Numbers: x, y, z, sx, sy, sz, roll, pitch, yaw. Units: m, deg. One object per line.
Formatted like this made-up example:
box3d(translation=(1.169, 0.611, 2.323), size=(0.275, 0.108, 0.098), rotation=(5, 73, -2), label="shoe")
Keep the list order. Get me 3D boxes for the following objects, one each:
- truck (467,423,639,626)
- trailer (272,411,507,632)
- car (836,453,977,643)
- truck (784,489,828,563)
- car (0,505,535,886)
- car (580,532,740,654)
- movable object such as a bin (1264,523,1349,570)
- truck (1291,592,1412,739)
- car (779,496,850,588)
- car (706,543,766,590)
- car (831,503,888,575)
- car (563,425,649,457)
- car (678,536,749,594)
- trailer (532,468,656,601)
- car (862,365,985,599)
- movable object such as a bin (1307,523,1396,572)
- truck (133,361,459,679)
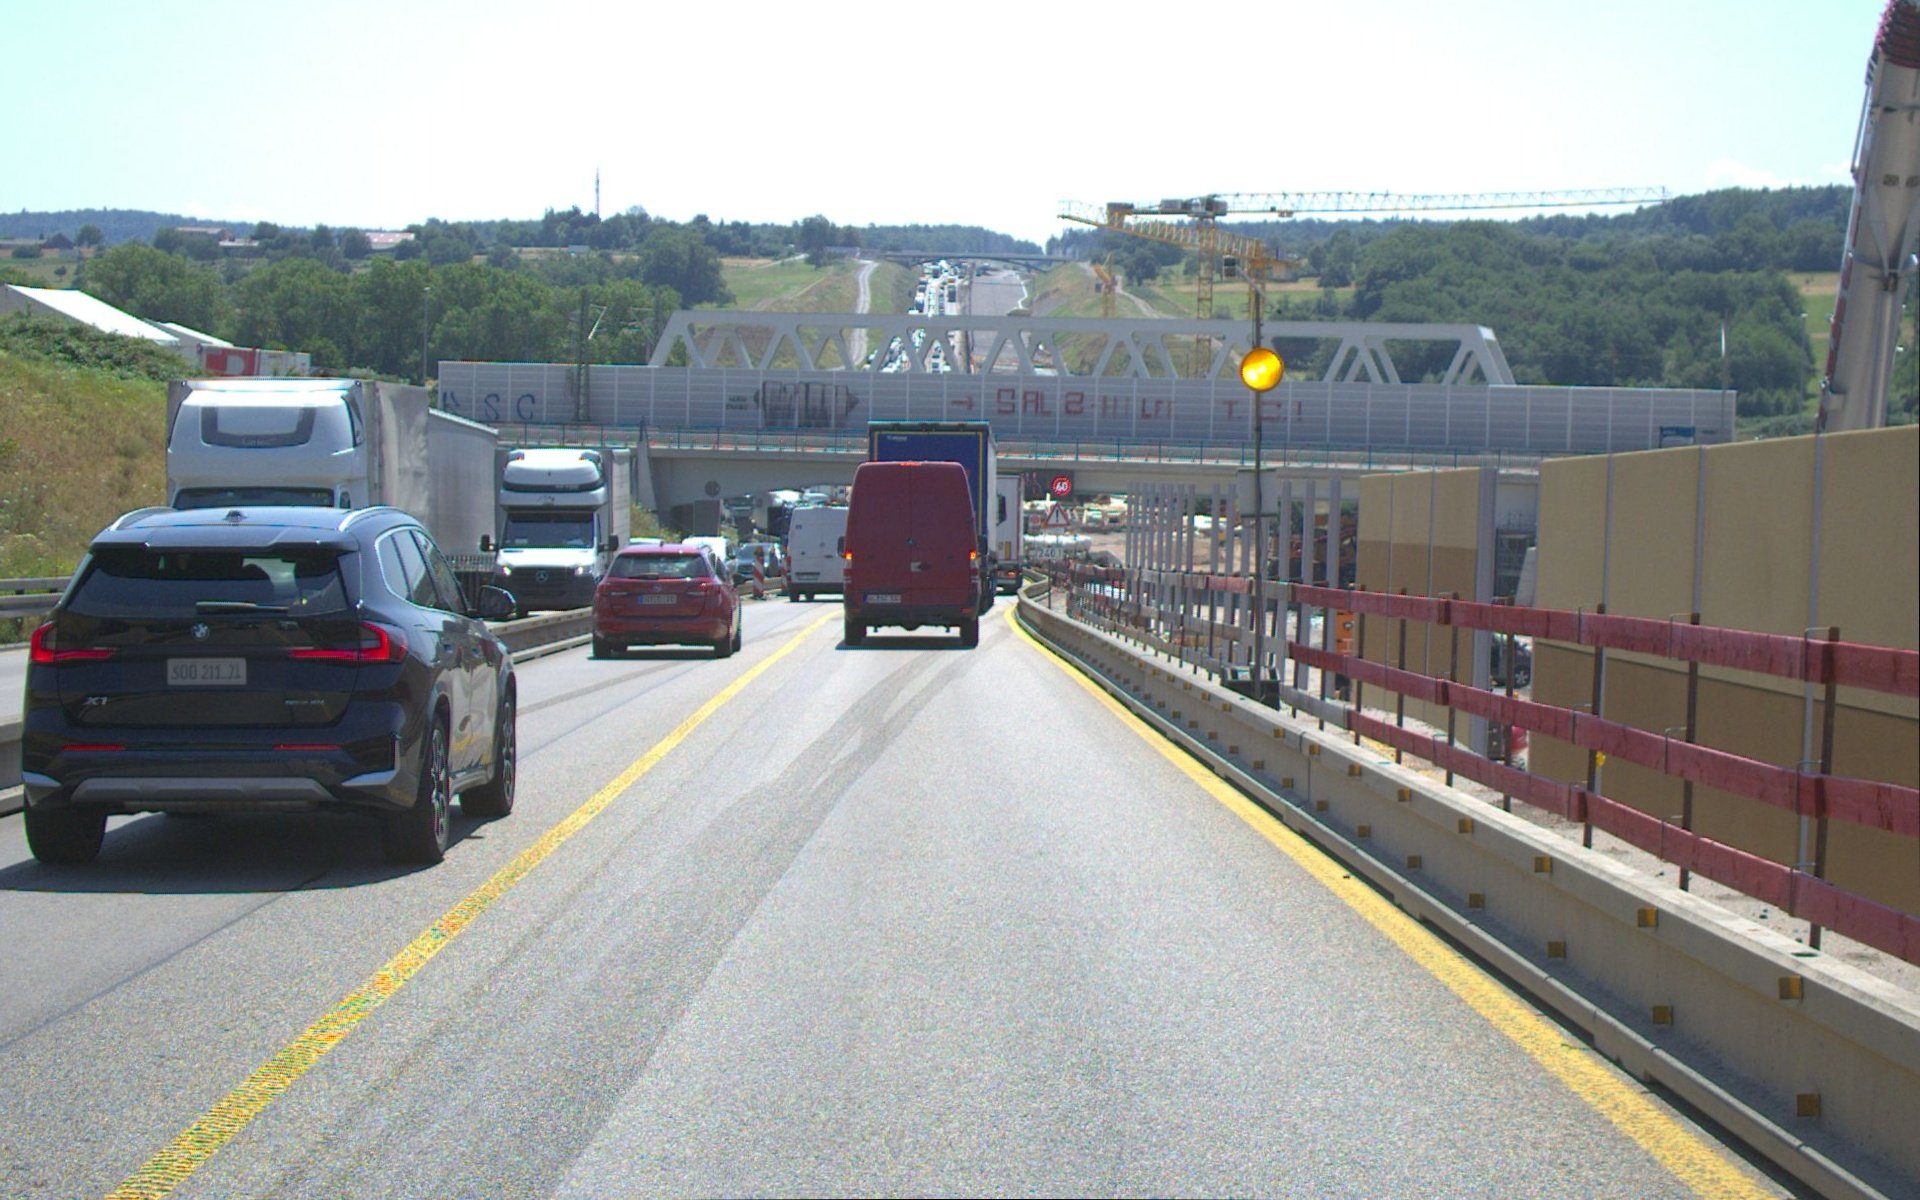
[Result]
box3d(translation=(-7.924, -1.478, 67.686), size=(2.589, 3.745, 7.359), rotation=(1, 1, -1), label="truck")
box3d(translation=(-11.332, -1.578, 69.726), size=(2.698, 4.010, 13.704), rotation=(1, 1, -1), label="trailer")
box3d(translation=(-0.785, -0.778, 50.854), size=(1.988, 2.681, 4.624), rotation=(0, 1, -1), label="car")
box3d(translation=(-8.492, -4.083, 189.879), size=(2.357, 4.001, 4.001), rotation=(1, 1, -2), label="truck")
box3d(translation=(-3.264, 0.356, 16.774), size=(1.879, 1.612, 4.499), rotation=(0, 1, -1), label="car")
box3d(translation=(-3.886, -0.127, 45.123), size=(1.776, 1.512, 4.206), rotation=(0, 1, -1), label="car")
box3d(translation=(21.337, -3.294, 212.065), size=(5.147, 2.798, 2.142), rotation=(1, 1, 5), label="movable object such as a bin")
box3d(translation=(10.955, 1.784, 96.632), size=(2.758, 3.873, 5.882), rotation=(1, 1, 1), label="truck")
box3d(translation=(-3.896, -1.569, 92.429), size=(1.776, 2.433, 4.206), rotation=(0, 1, -1), label="car")
box3d(translation=(-7.936, -1.210, 122.151), size=(1.791, 1.606, 4.733), rotation=(1, 1, 0), label="car")
box3d(translation=(-3.262, -1.996, 112.361), size=(1.776, 2.322, 4.206), rotation=(0, 1, -1), label="car")
box3d(translation=(-20.472, -9.191, 198.841), size=(4.556, 1.777, 1.959), rotation=(1, 1, 13), label="car")
box3d(translation=(-7.953, -1.149, 111.313), size=(2.035, 1.817, 4.960), rotation=(1, 1, -1), label="car")
box3d(translation=(-11.018, -1.992, 104.477), size=(2.590, 3.788, 11.918), rotation=(1, 1, -1), label="trailer")
box3d(translation=(-0.846, -2.632, 78.661), size=(2.621, 5.015, 10.397), rotation=(0, 1, -1), label="car")
box3d(translation=(23.322, -3.144, 204.839), size=(5.147, 2.798, 2.142), rotation=(1, 1, 5), label="movable object such as a bin")
box3d(translation=(-7.612, -0.922, 40.256), size=(2.538, 3.362, 7.038), rotation=(1, 1, -1), label="truck")
